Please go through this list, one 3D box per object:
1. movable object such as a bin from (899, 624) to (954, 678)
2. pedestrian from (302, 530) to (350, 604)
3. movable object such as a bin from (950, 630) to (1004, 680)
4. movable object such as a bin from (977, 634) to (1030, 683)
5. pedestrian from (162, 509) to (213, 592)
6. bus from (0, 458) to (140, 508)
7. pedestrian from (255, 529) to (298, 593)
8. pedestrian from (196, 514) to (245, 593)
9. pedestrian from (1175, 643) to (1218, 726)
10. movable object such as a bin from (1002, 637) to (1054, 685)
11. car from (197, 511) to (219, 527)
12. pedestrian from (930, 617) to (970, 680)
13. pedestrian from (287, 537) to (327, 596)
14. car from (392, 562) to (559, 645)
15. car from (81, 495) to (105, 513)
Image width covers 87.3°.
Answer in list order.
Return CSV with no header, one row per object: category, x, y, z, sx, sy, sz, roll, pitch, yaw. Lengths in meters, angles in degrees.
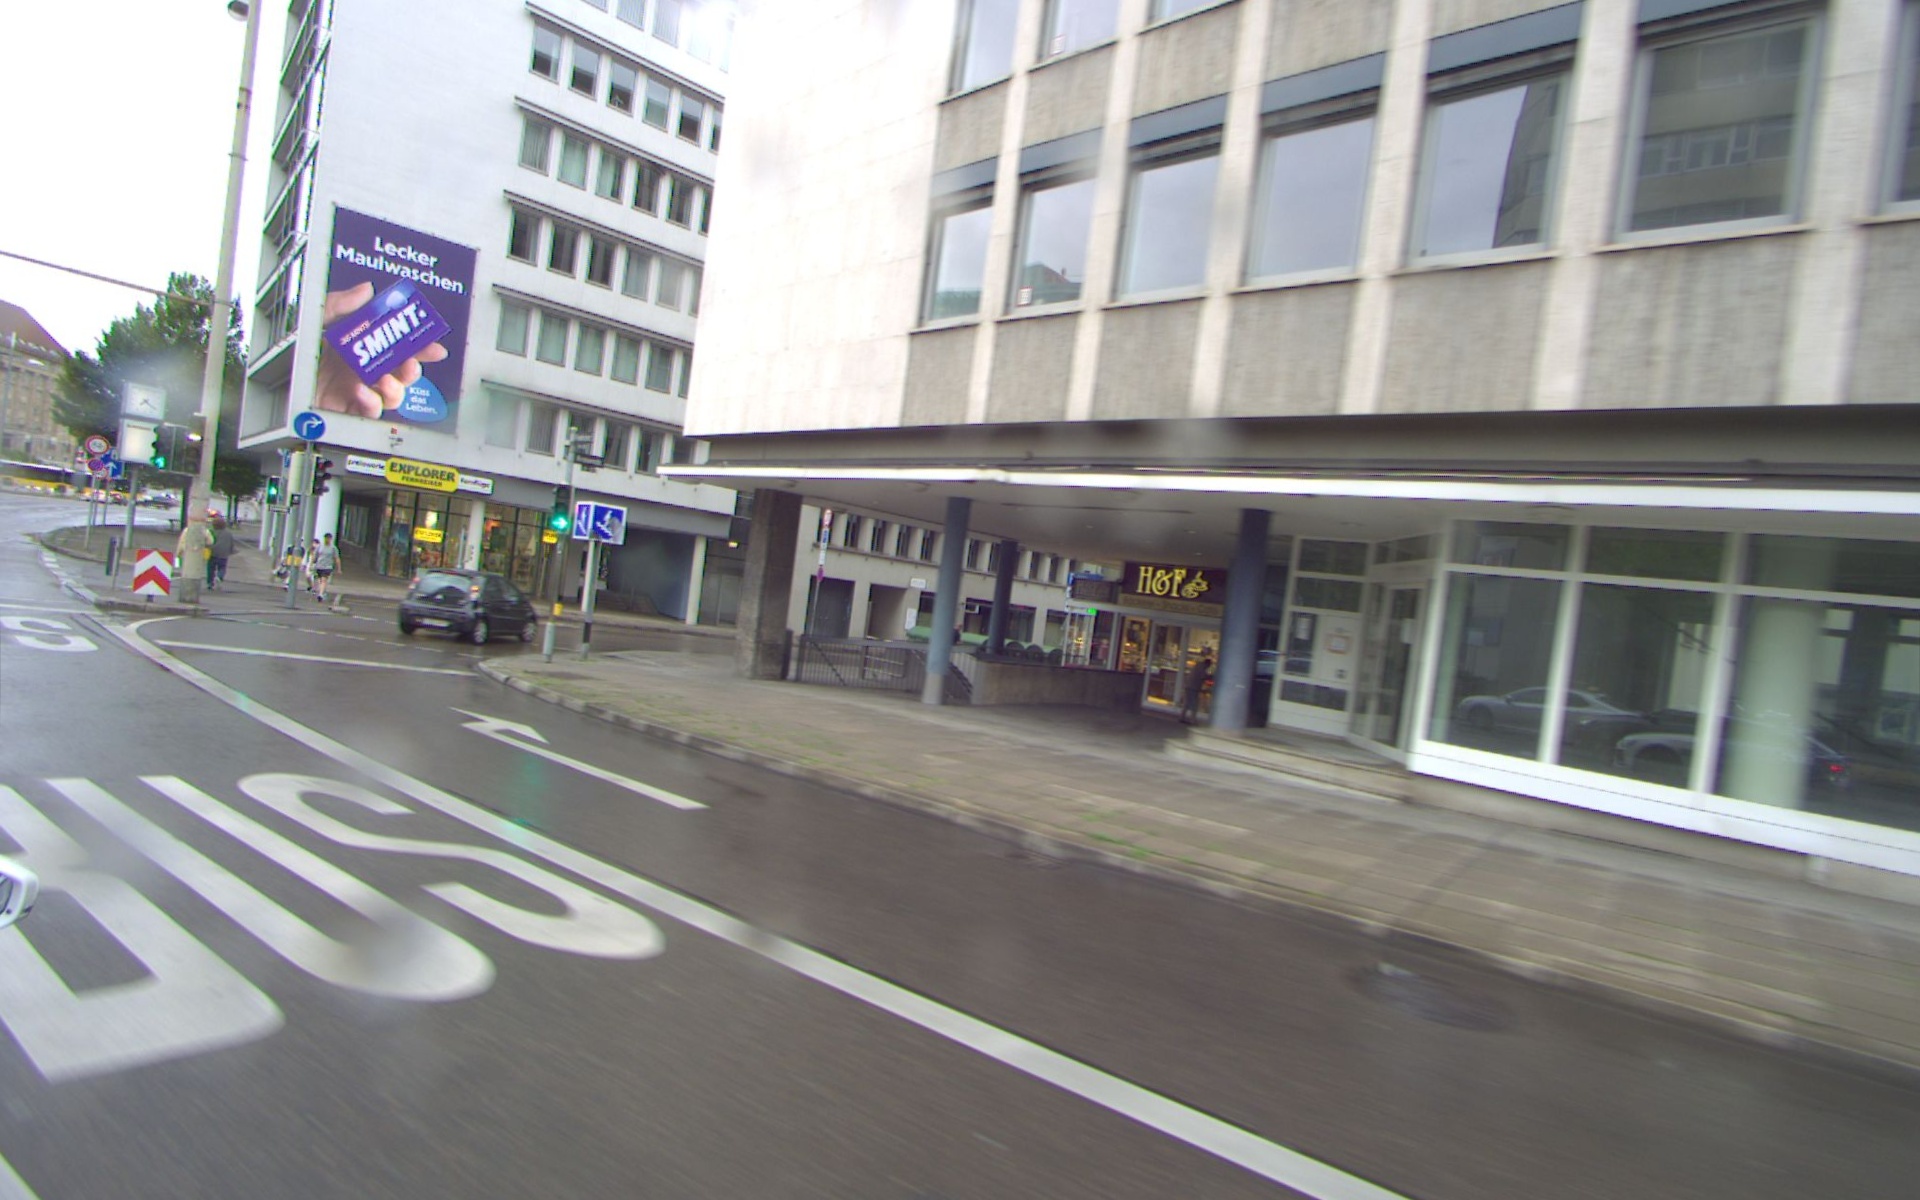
movable object such as a bin,-1.030,1.555,30.857,0.962,1.447,1.267,7,0,-40
pedestrian,-16.393,-0.836,26.028,0.661,1.815,0.770,7,-1,-18
movable object such as a bin,0.535,1.780,32.614,1.096,1.399,1.185,7,0,-40
movable object such as a bin,1.429,1.937,33.402,1.096,1.399,1.185,7,0,-40
pedestrian,-18.200,-1.175,23.709,0.746,1.820,0.807,7,1,-41
bus,-130.207,-16.992,145.945,16.869,4.108,4.398,9,-3,-35
pedestrian,-19.063,-1.085,28.063,0.661,1.675,0.651,7,-1,-18
pedestrian,-18.290,-1.149,24.888,0.746,1.820,0.807,7,1,-41
pedestrian,5.524,1.958,23.516,0.697,1.825,0.801,7,-1,10
movable object such as a bin,2.294,2.061,34.141,1.096,1.399,1.185,7,0,-40
car,-94.860,-10.190,126.956,1.682,1.503,3.969,8,-2,-31
pedestrian,-0.294,1.418,29.495,0.588,1.752,0.769,7,-1,43
pedestrian,-18.538,-0.940,28.568,0.617,1.561,0.651,7,-1,-18
car,-10.291,0.145,21.722,1.547,1.445,4.003,7,-2,-1
car,-101.780,-11.254,118.121,1.880,1.662,3.958,8,-2,-38
